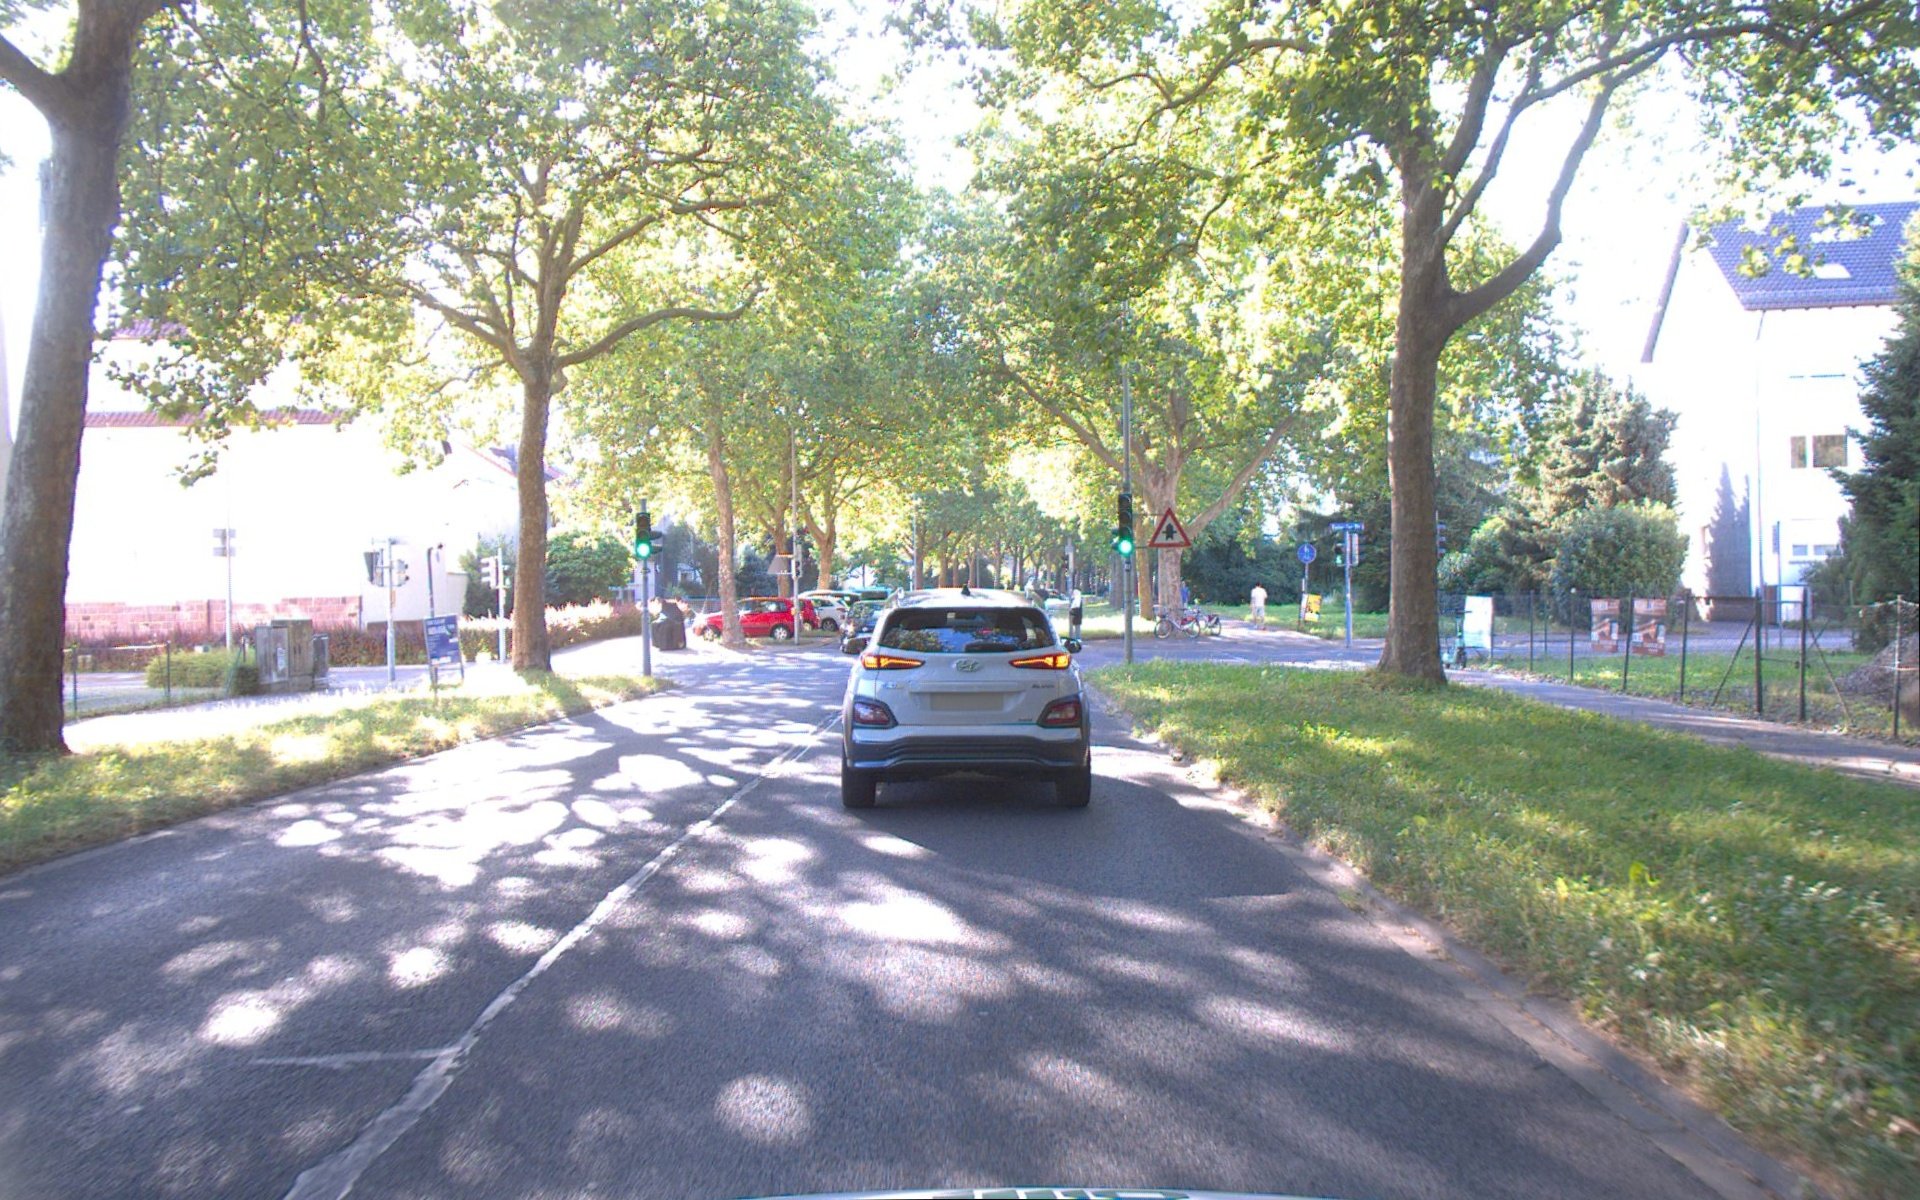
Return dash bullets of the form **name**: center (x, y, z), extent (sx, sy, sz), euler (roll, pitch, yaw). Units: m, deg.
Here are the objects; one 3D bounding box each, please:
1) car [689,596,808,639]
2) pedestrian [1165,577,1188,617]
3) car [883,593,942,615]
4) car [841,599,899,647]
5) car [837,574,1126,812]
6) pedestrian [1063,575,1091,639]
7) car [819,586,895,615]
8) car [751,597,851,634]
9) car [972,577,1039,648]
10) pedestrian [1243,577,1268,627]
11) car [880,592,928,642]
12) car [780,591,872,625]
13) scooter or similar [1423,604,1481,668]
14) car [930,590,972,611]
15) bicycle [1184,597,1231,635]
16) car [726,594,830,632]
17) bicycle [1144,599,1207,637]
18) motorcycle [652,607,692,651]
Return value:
- **car**: center (-7.469, 0.604, 58.692), extent (3.905, 1.504, 2.000), euler (0, -1, 0)
- **pedestrian**: center (11.371, -0.165, 86.855), extent (1.071, 2.049, 1.106), euler (-2, 0, 6)
- **car**: center (-3.202, 0.257, 112.147), extent (3.905, 1.504, 2.000), euler (0, -1, 0)
- **car**: center (-2.876, 0.705, 53.404), extent (1.653, 1.462, 3.682), euler (0, 1, 1)
- **car**: center (0.133, 0.637, 13.148), extent (1.953, 1.602, 3.999), euler (0, 0, 0)
- **pedestrian**: center (3.813, 0.231, 53.771), extent (0.849, 2.049, 0.814), euler (0, -1, 8)
- **car**: center (-5.456, 0.048, 88.021), extent (3.905, 1.504, 2.000), euler (0, -1, 0)
- **car**: center (-6.536, 0.655, 68.445), extent (3.905, 1.504, 2.000), euler (0, -1, 0)
- **car**: center (1.453, 0.362, 51.665), extent (1.952, 2.049, 4.001), euler (-2, 0, 2)
- **pedestrian**: center (10.484, 0.086, 58.676), extent (0.816, 1.766, 0.886), euler (0, -1, 8)
- **car**: center (-2.157, 0.668, 64.695), extent (1.755, 1.915, 3.999), euler (0, -1, 0)
- **car**: center (-5.933, 0.375, 73.636), extent (3.905, 1.504, 2.000), euler (0, -1, 0)
- **scooter or similar**: center (10.081, 0.727, 33.954), extent (0.538, 1.280, 2.313), euler (0, -1, 1)
- **car**: center (-0.842, 0.033, 150.217), extent (3.601, 1.840, 1.745), euler (0, 0, -9)
- **bicycle**: center (7.929, 0.522, 53.101), extent (0.594, 1.204, 2.107), euler (0, -1, -19)
- **car**: center (-7.256, 0.529, 66.255), extent (3.905, 1.504, 2.000), euler (0, -1, 0)
- **bicycle**: center (6.803, 0.571, 52.317), extent (0.600, 1.184, 2.116), euler (1, -1, -43)
- **motorcycle**: center (-9.418, 0.938, 54.171), extent (0.829, 1.403, 2.776), euler (0, -1, 0)
